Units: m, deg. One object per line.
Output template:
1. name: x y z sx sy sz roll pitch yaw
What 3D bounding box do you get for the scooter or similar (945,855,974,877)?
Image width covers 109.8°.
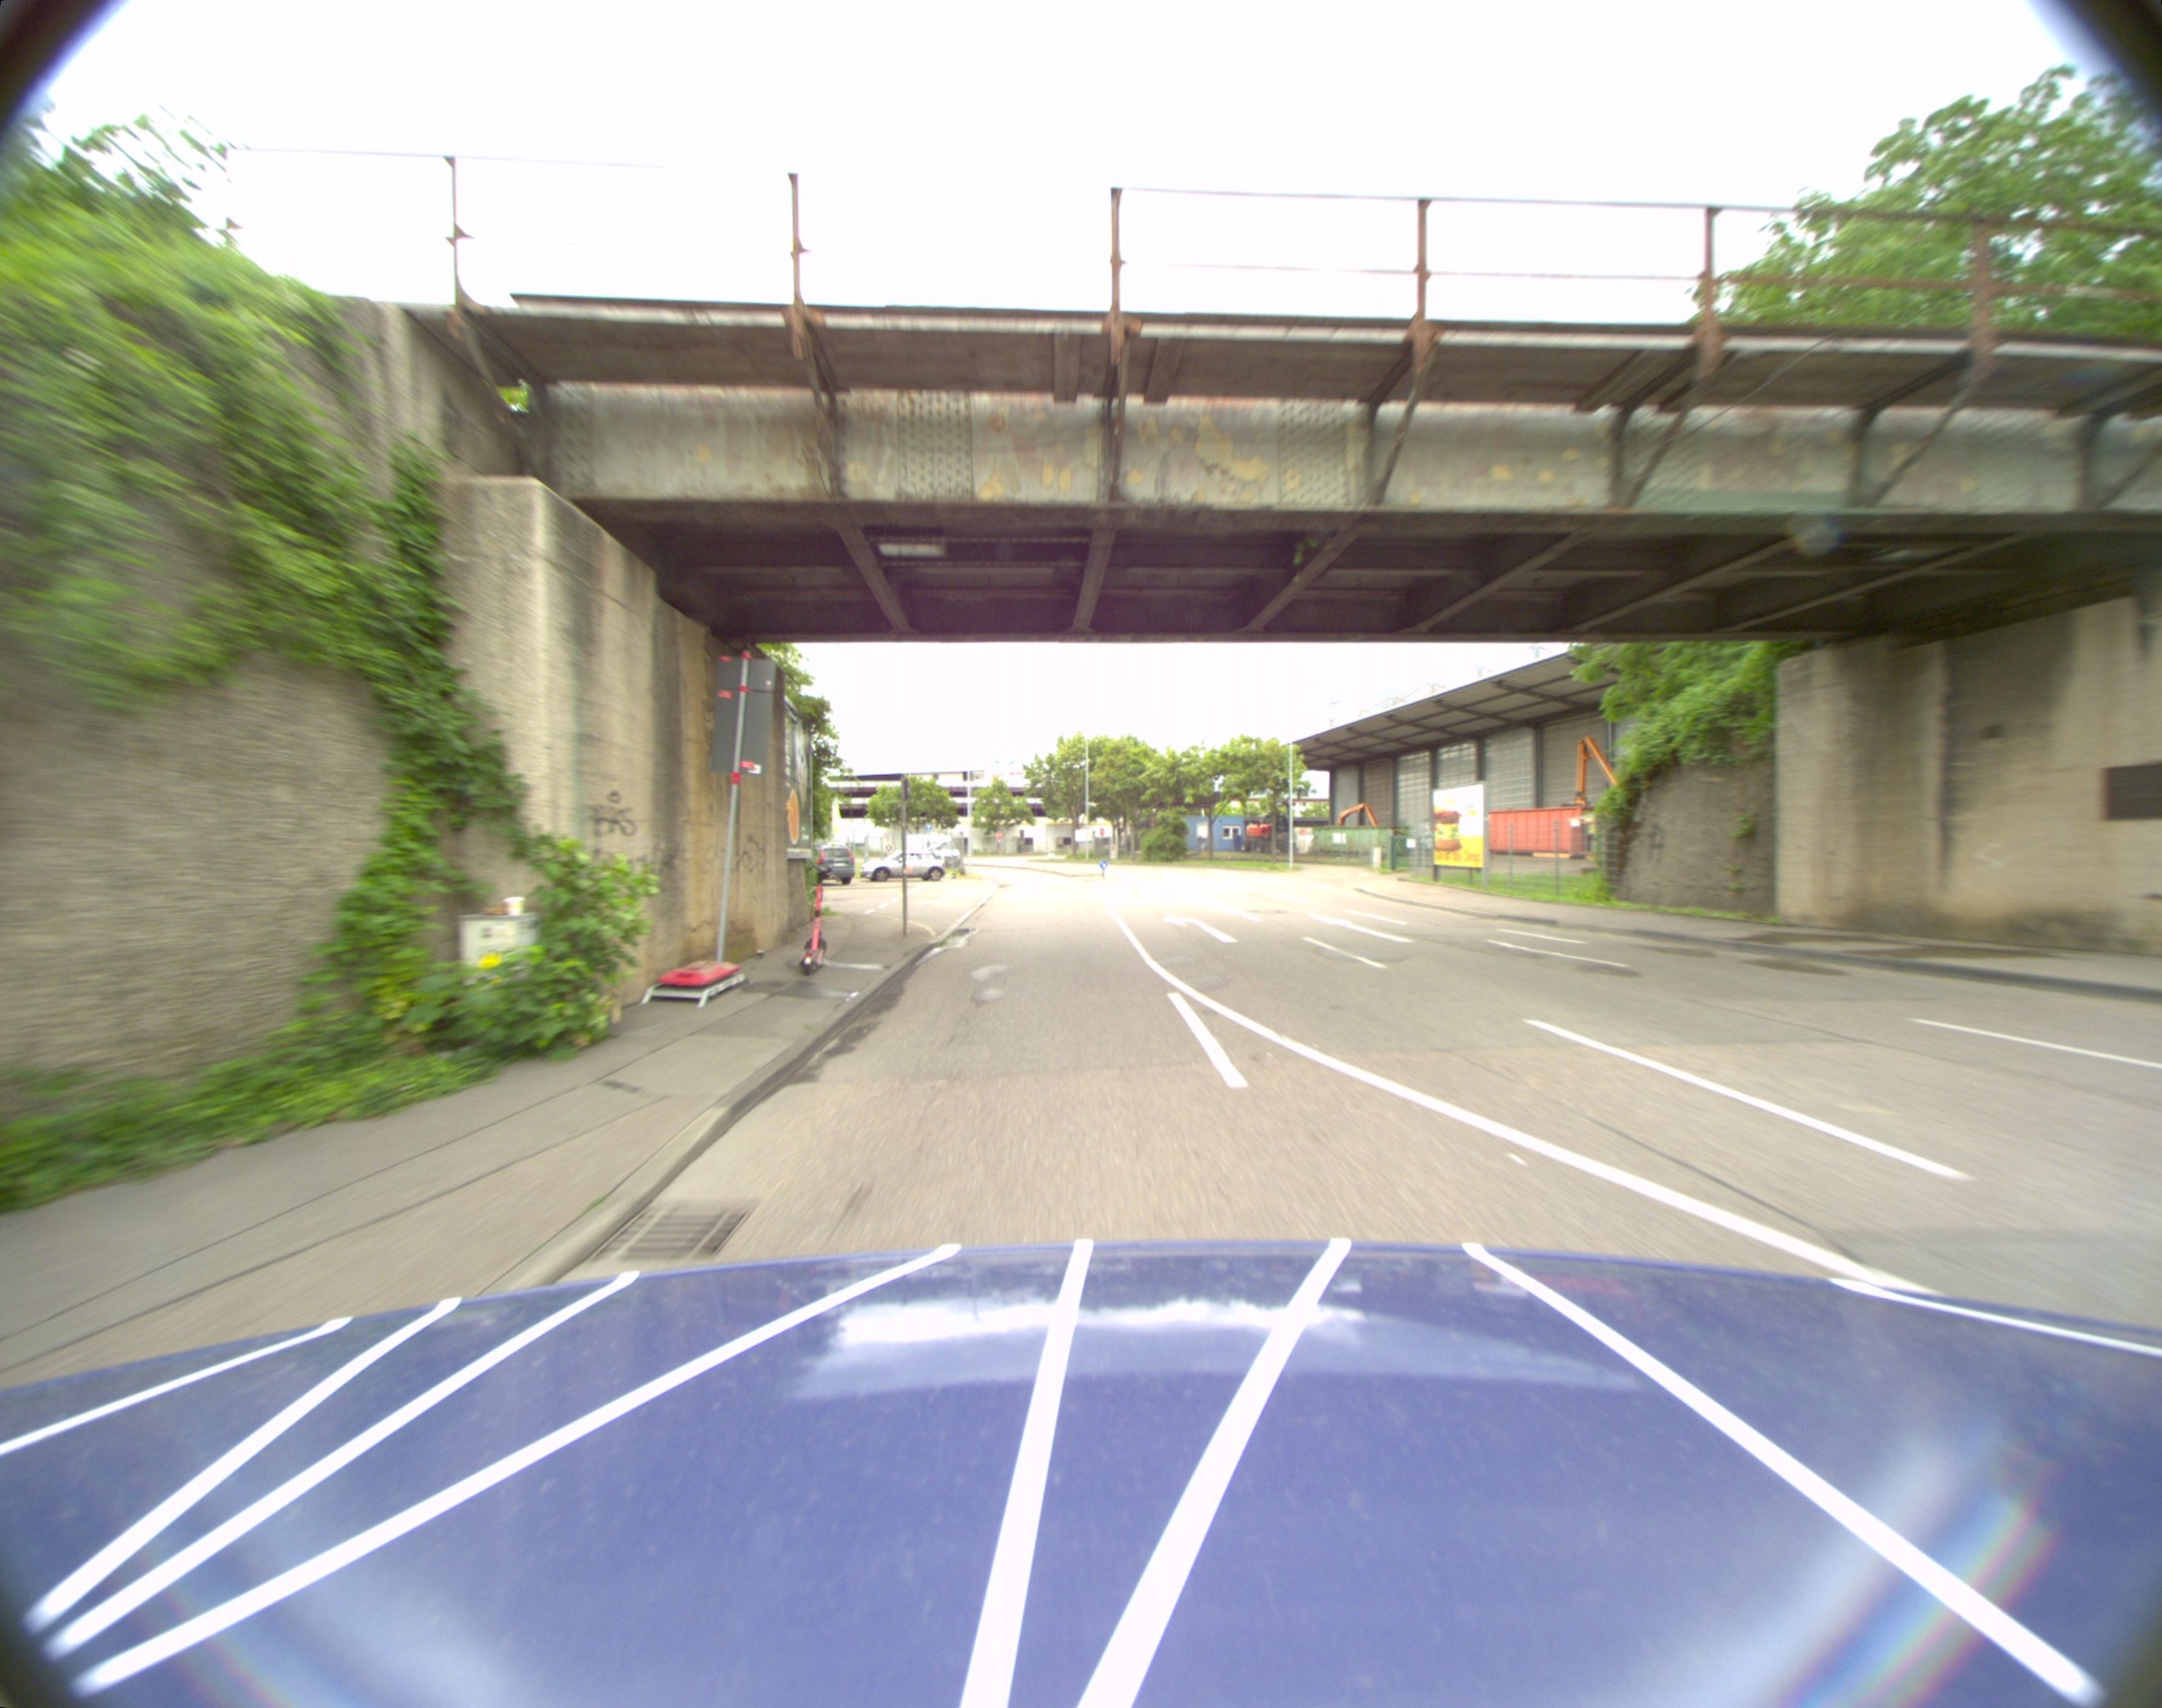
1. scooter or similar: -6.350 0.625 39.734 1.419 1.127 0.480 1 1 -3

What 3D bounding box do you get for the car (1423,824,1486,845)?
1. car: 24.915 -1.278 50.881 1.738 1.366 3.995 0 1 -10

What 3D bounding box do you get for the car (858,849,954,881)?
1. car: -8.149 0.480 35.457 4.026 1.423 1.782 0 1 -28

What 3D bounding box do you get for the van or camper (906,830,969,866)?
1. van or camper: -10.924 -0.503 57.526 2.277 2.543 6.091 -2 2 -36

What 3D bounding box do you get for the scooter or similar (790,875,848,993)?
1. scooter or similar: -3.136 0.908 9.185 0.506 1.229 1.667 3 0 -16

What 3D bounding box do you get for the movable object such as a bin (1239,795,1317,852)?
1. movable object such as a bin: 15.039 -2.210 58.611 2.736 4.067 6.542 0 0 -17

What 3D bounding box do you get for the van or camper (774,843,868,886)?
1. van or camper: -11.042 0.390 32.065 4.493 1.685 1.836 1 2 44
